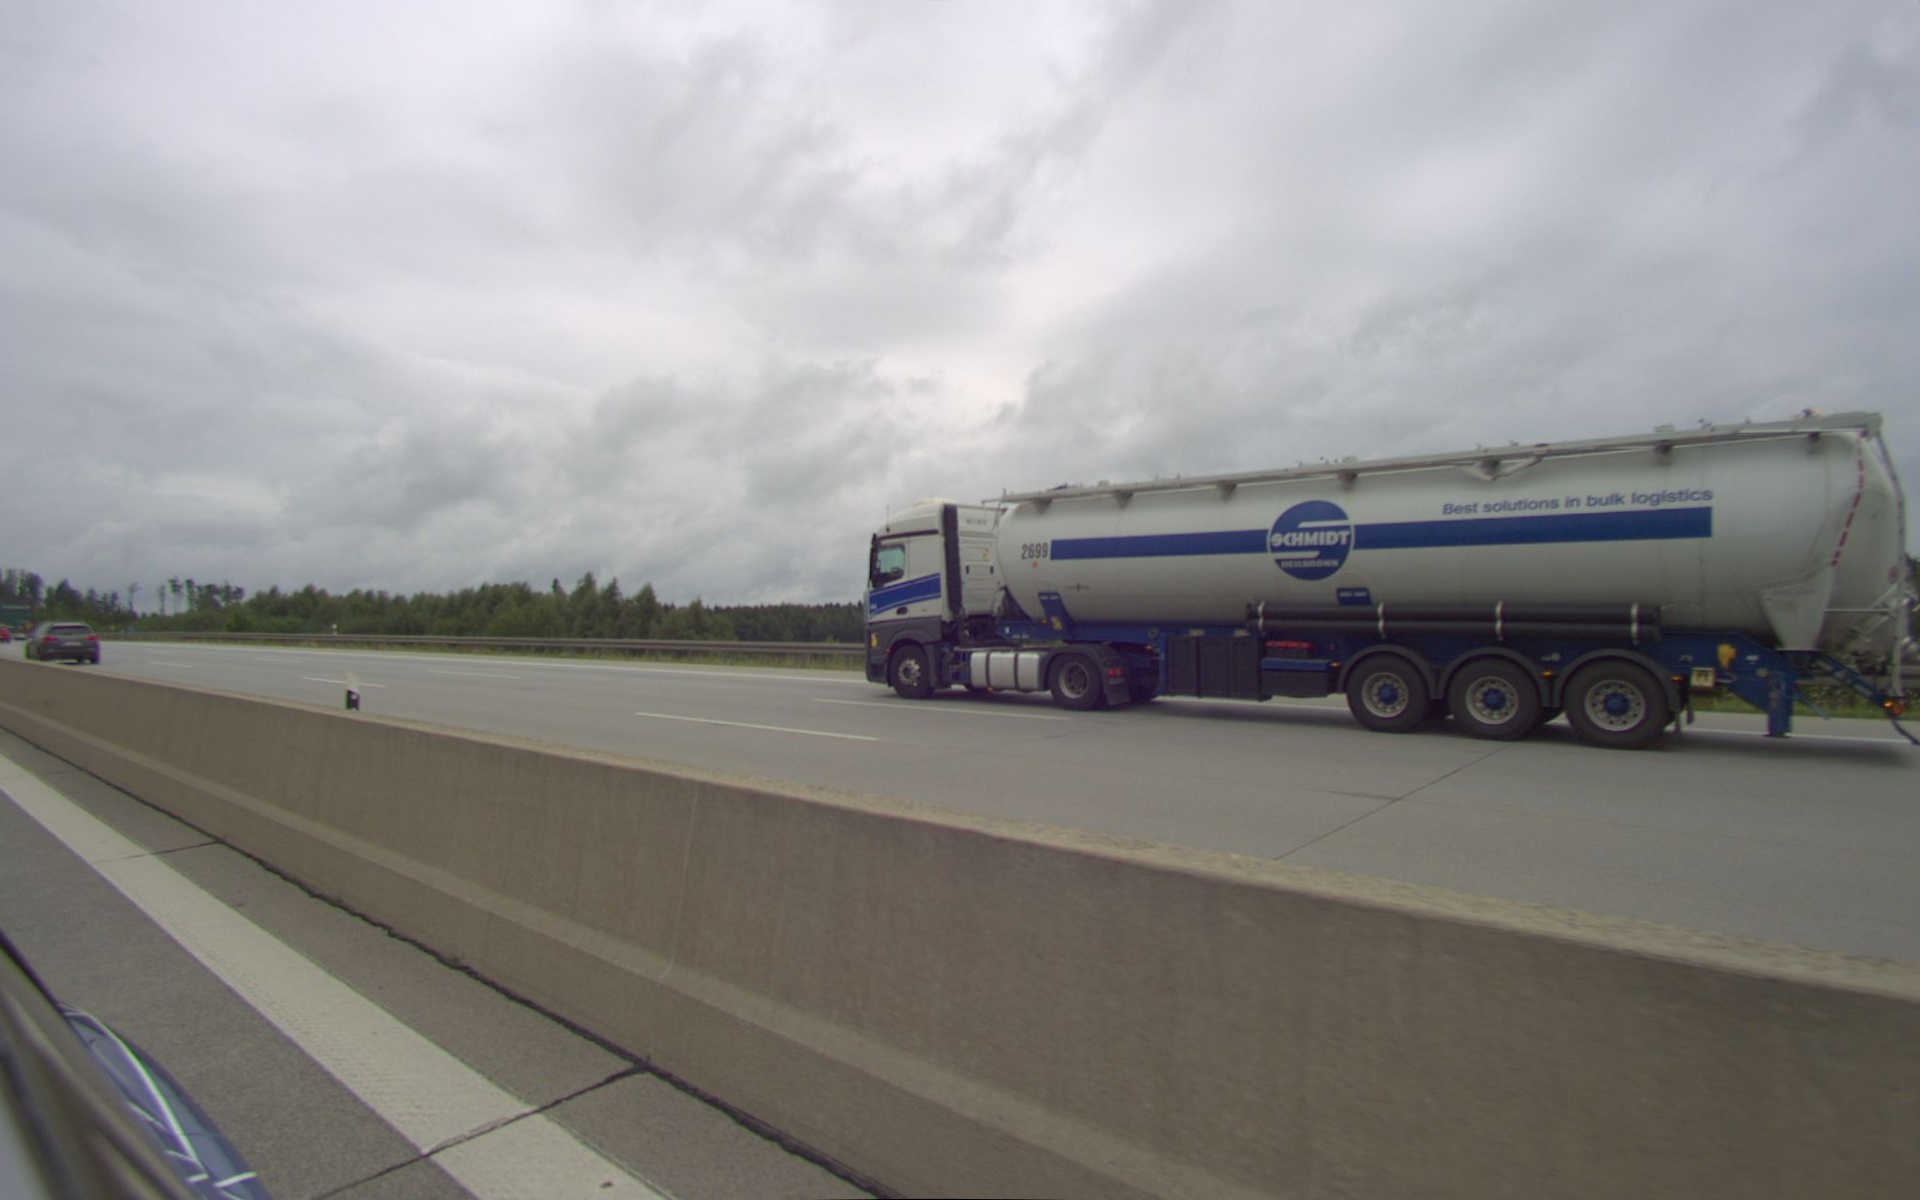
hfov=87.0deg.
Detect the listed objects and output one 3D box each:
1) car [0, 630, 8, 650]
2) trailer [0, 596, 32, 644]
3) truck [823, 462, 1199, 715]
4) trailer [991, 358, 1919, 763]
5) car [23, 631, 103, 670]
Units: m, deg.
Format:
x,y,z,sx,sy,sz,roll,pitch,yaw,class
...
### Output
x,y,z,sx,sy,sz,roll,pitch,yaw,class
-75.267,3.075,78.484,4.483,1.519,1.503,-1,-2,40,car
-93.104,2.044,98.135,12.152,4.314,2.738,-3,-2,39,trailer
0.763,-0.125,19.418,6.924,4.029,2.719,-2,-1,40,truck
6.112,-0.271,14.836,12.281,4.029,2.730,-2,-1,41,trailer
-35.405,1.950,39.906,4.339,1.428,1.774,-1,-1,40,car
